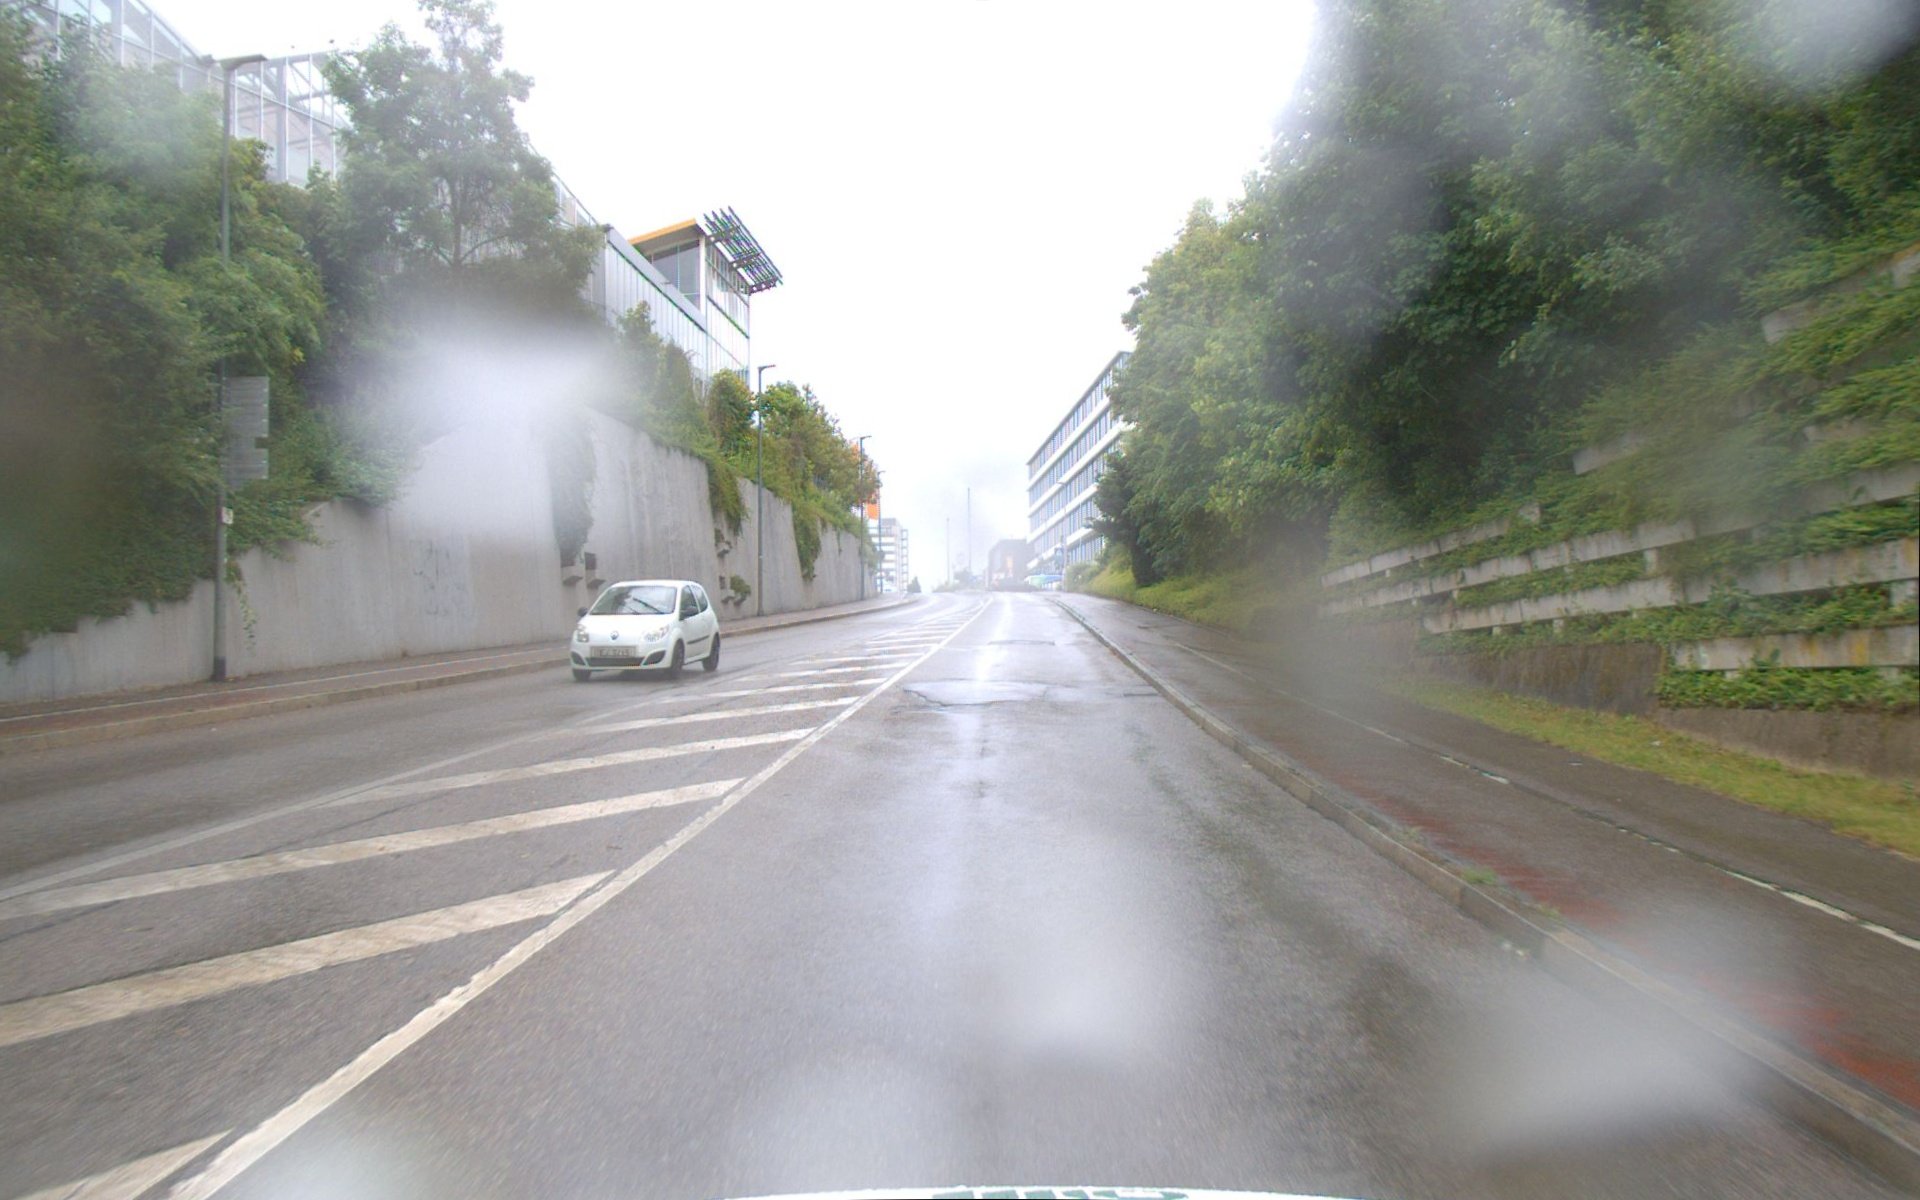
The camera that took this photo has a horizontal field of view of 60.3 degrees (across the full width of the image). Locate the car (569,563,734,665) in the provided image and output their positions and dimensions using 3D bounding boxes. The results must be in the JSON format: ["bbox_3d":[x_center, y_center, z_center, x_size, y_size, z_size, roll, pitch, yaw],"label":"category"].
[{"bbox_3d":[-4.739,0.238,25.893,1.480,1.474,3.819,0,-1,7],"label":"car"}]

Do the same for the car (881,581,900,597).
[{"bbox_3d":[-6.333,-1.045,150.828,1.608,1.386,4.246,1,1,-4],"label":"car"}]

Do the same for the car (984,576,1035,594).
[{"bbox_3d":[4.300,-1.284,143.287,4.112,1.434,1.801,-1,-3,13],"label":"car"}]
